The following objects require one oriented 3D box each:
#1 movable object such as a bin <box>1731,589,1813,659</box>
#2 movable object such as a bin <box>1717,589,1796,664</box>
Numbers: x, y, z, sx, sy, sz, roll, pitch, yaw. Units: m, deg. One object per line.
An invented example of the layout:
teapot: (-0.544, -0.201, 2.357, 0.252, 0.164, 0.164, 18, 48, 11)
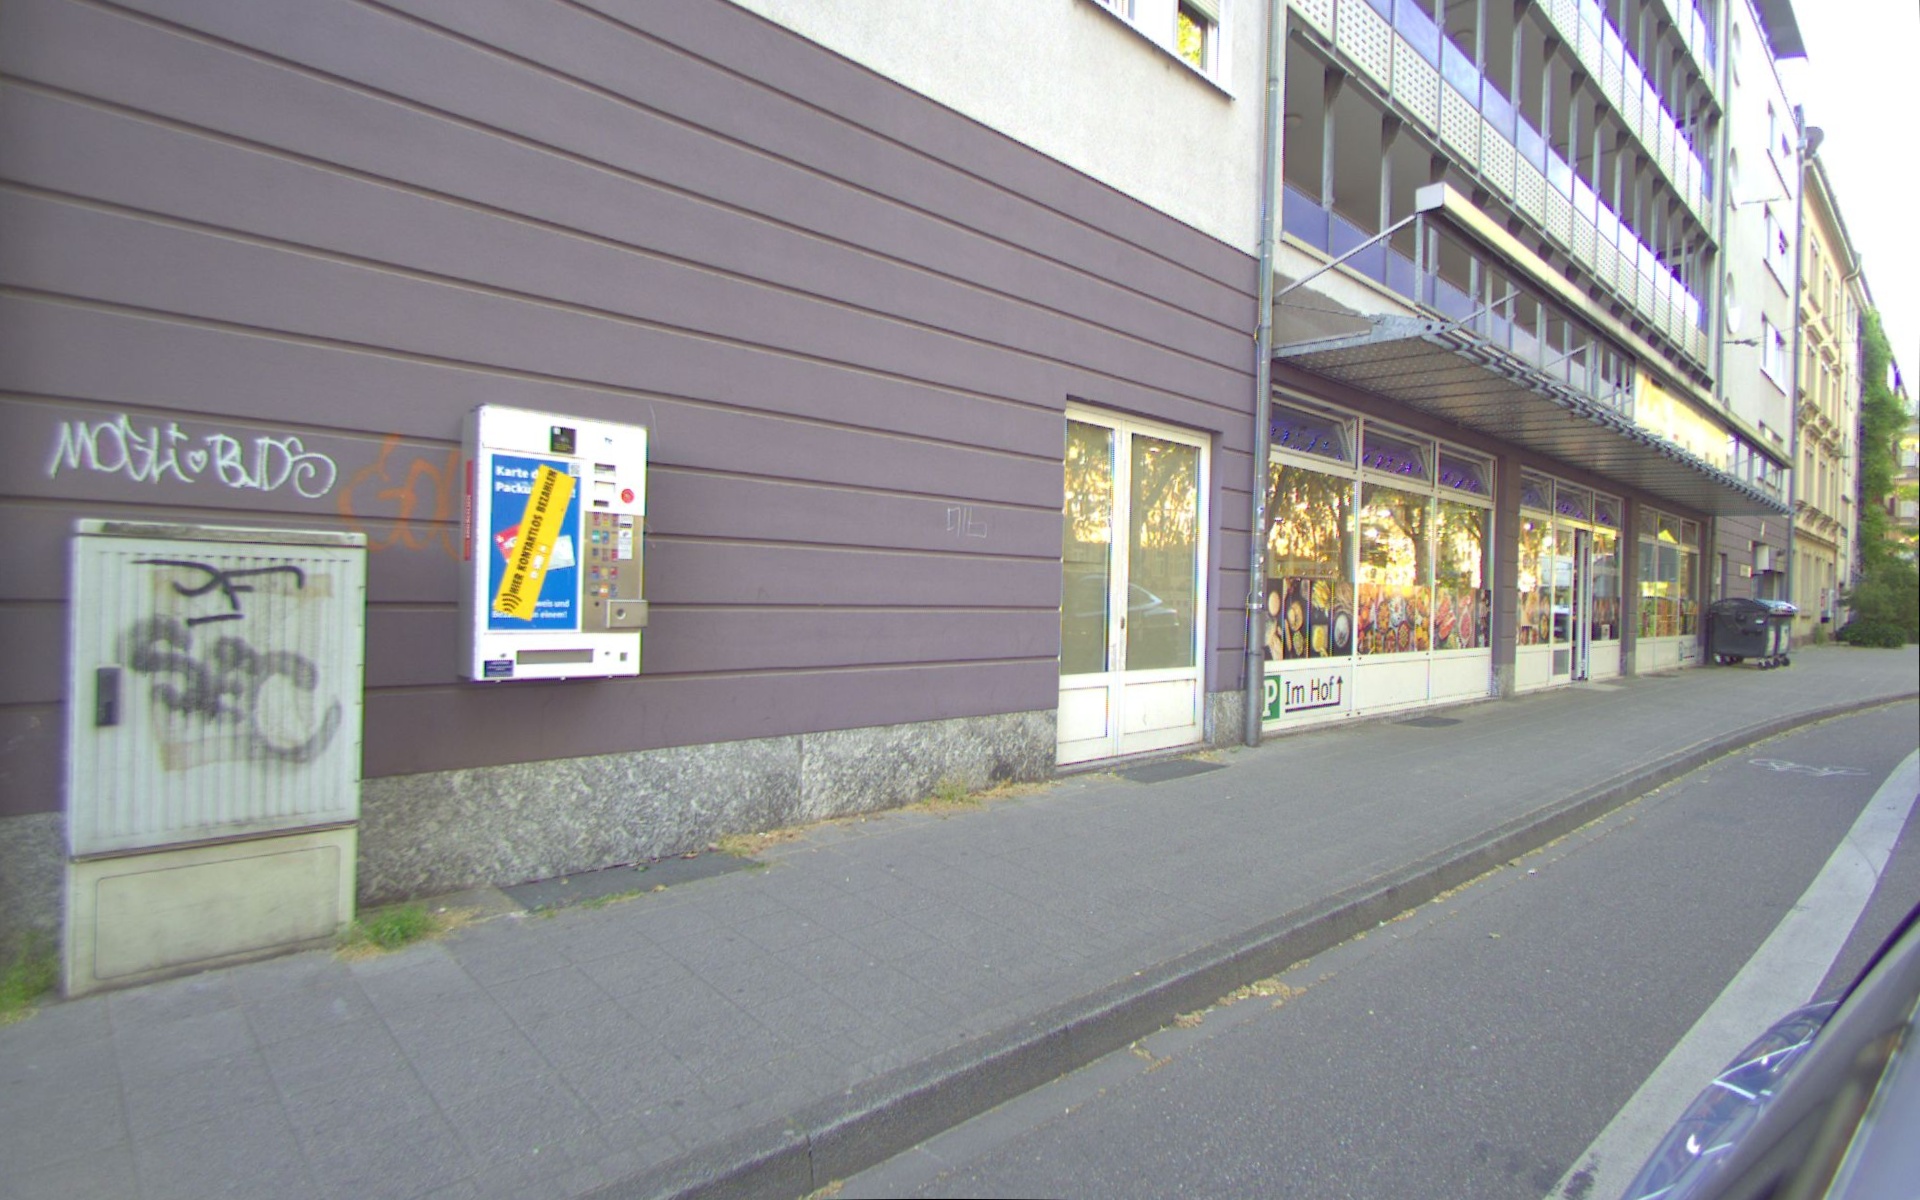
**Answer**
movable object such as a bin: (17.784, 0.504, 22.166, 1.282, 1.464, 1.123, 1, 1, -38)
movable object such as a bin: (16.434, 0.521, 20.879, 1.274, 1.465, 1.068, 1, 1, -42)
